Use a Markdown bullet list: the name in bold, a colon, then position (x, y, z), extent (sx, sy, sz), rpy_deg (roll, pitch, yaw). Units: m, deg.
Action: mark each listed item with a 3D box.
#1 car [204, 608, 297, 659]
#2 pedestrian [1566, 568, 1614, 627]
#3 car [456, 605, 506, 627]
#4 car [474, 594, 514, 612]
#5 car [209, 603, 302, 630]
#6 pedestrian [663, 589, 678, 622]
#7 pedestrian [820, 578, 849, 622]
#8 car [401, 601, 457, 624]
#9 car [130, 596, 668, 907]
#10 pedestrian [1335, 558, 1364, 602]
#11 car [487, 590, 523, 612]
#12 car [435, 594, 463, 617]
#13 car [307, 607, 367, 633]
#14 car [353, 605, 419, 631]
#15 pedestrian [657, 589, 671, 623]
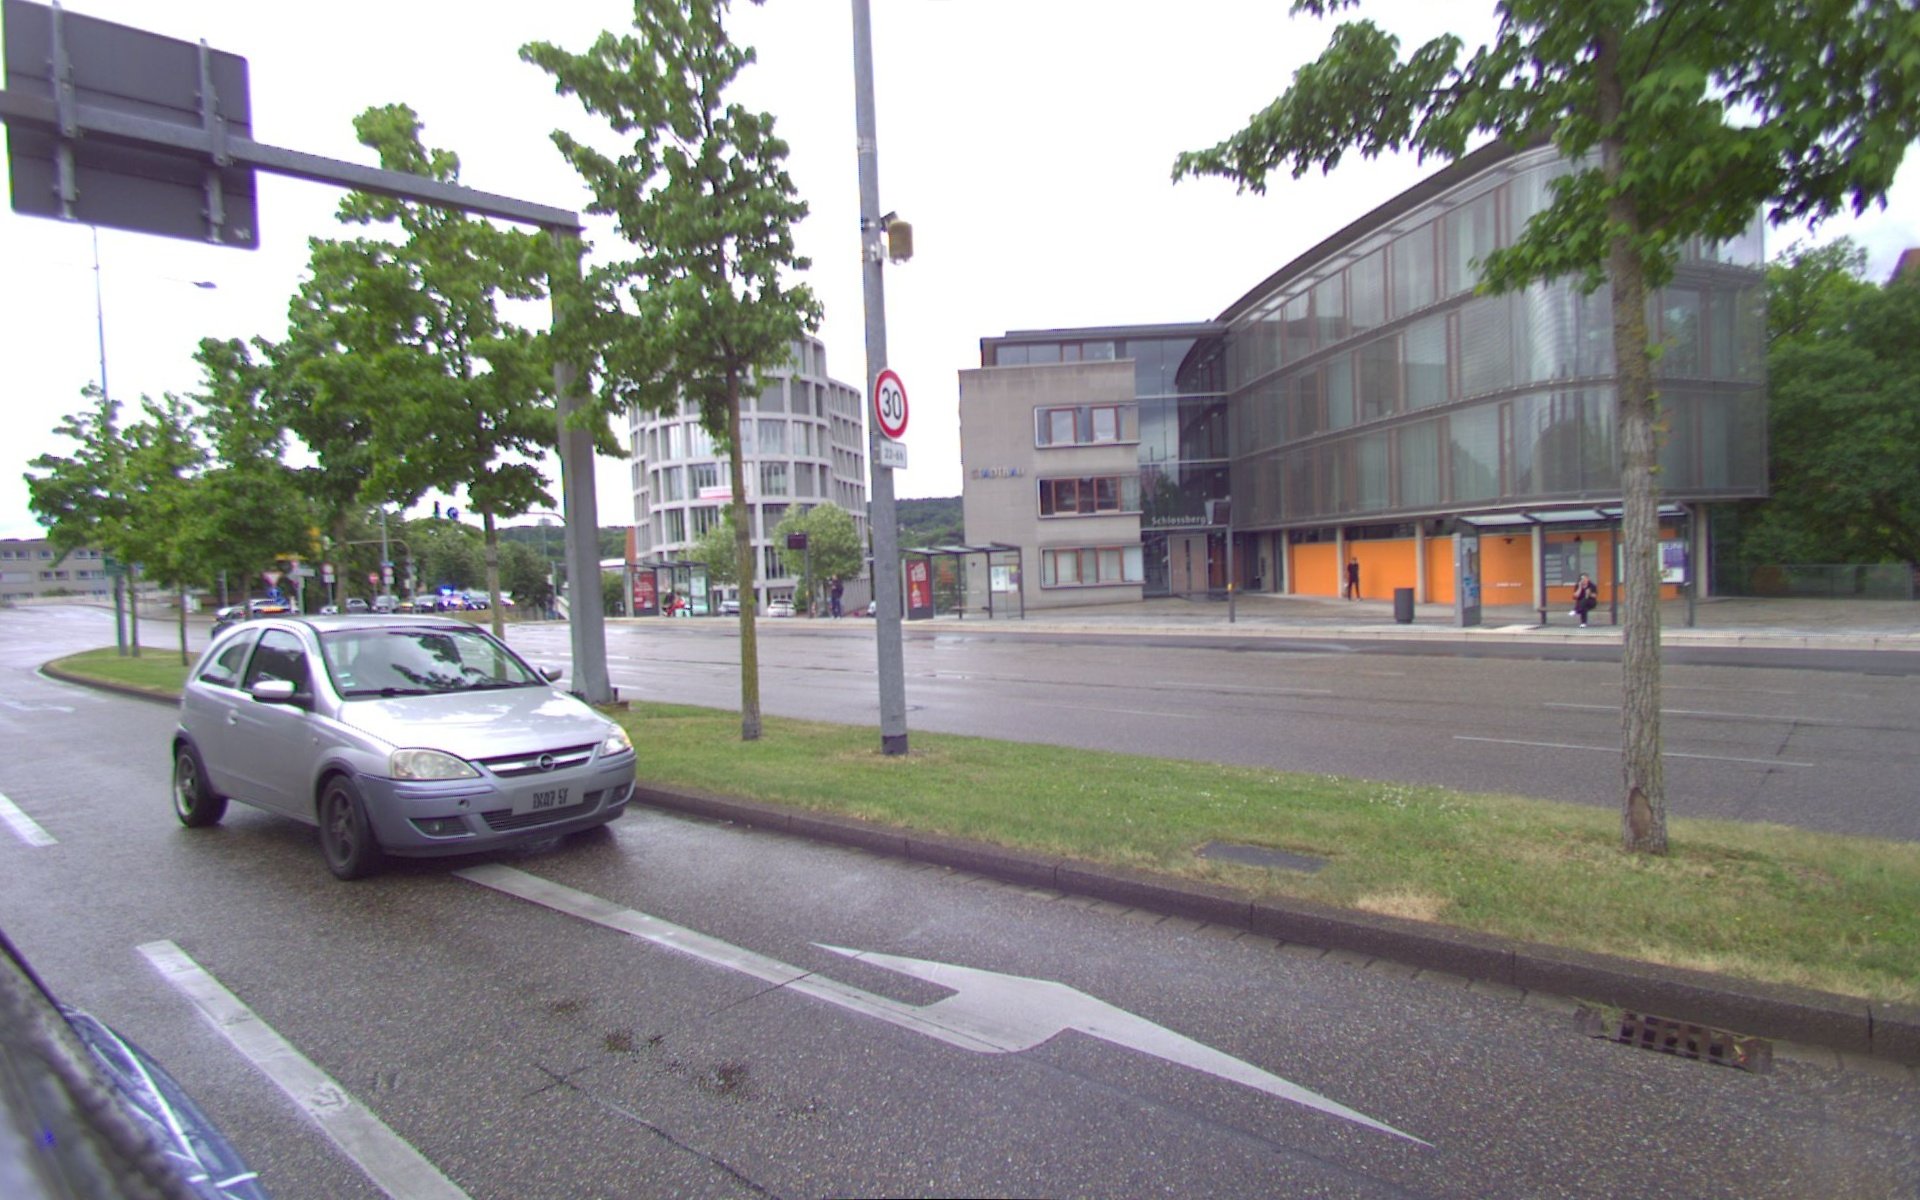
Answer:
- **car**: position (-25.289, 1.143, 35.996), extent (4.600, 1.652, 1.802), rpy_deg (-1, 1, 43)
- **pedestrian**: position (14.612, -0.050, 23.478), extent (0.790, 1.334, 0.793), rpy_deg (-1, 0, 42)
- **car**: position (-41.363, 1.334, 87.562), extent (2.164, 1.725, 4.920), rpy_deg (-1, 0, -3)
- **car**: position (-48.458, 0.310, 105.266), extent (2.163, 1.725, 4.922), rpy_deg (-1, 0, -5)
- **car**: position (-48.397, 1.105, 69.641), extent (2.179, 1.725, 4.885), rpy_deg (-1, 0, 19)
- **pedestrian**: position (-14.553, 0.295, 50.902), extent (0.535, 1.647, 0.514), rpy_deg (-1, 0, 41)
- **pedestrian**: position (-5.152, 0.013, 41.669), extent (0.964, 1.773, 0.783), rpy_deg (-1, 0, 12)
- **car**: position (-42.753, 0.969, 81.614), extent (2.164, 1.725, 4.919), rpy_deg (-1, 0, -3)
- **car**: position (-3.777, 0.756, 6.611), extent (3.727, 1.469, 1.609), rpy_deg (-1, 0, 35)
- **pedestrian**: position (15.025, -0.746, 39.067), extent (0.697, 1.666, 0.852), rpy_deg (-1, 0, -6)
- **car**: position (-43.548, 0.099, 96.930), extent (1.969, 2.029, 4.005), rpy_deg (-1, 0, -6)
- **car**: position (-47.640, 0.537, 94.349), extent (2.271, 2.029, 5.051), rpy_deg (-2, 0, -27)
- **car**: position (-46.814, 1.479, 76.136), extent (1.972, 1.807, 3.999), rpy_deg (-1, 0, 1)
- **car**: position (-41.726, 1.245, 73.743), extent (2.164, 1.725, 4.919), rpy_deg (-1, 0, -3)
- **pedestrian**: position (-14.723, 0.301, 50.334), extent (0.501, 1.647, 0.497), rpy_deg (-1, 0, 41)
